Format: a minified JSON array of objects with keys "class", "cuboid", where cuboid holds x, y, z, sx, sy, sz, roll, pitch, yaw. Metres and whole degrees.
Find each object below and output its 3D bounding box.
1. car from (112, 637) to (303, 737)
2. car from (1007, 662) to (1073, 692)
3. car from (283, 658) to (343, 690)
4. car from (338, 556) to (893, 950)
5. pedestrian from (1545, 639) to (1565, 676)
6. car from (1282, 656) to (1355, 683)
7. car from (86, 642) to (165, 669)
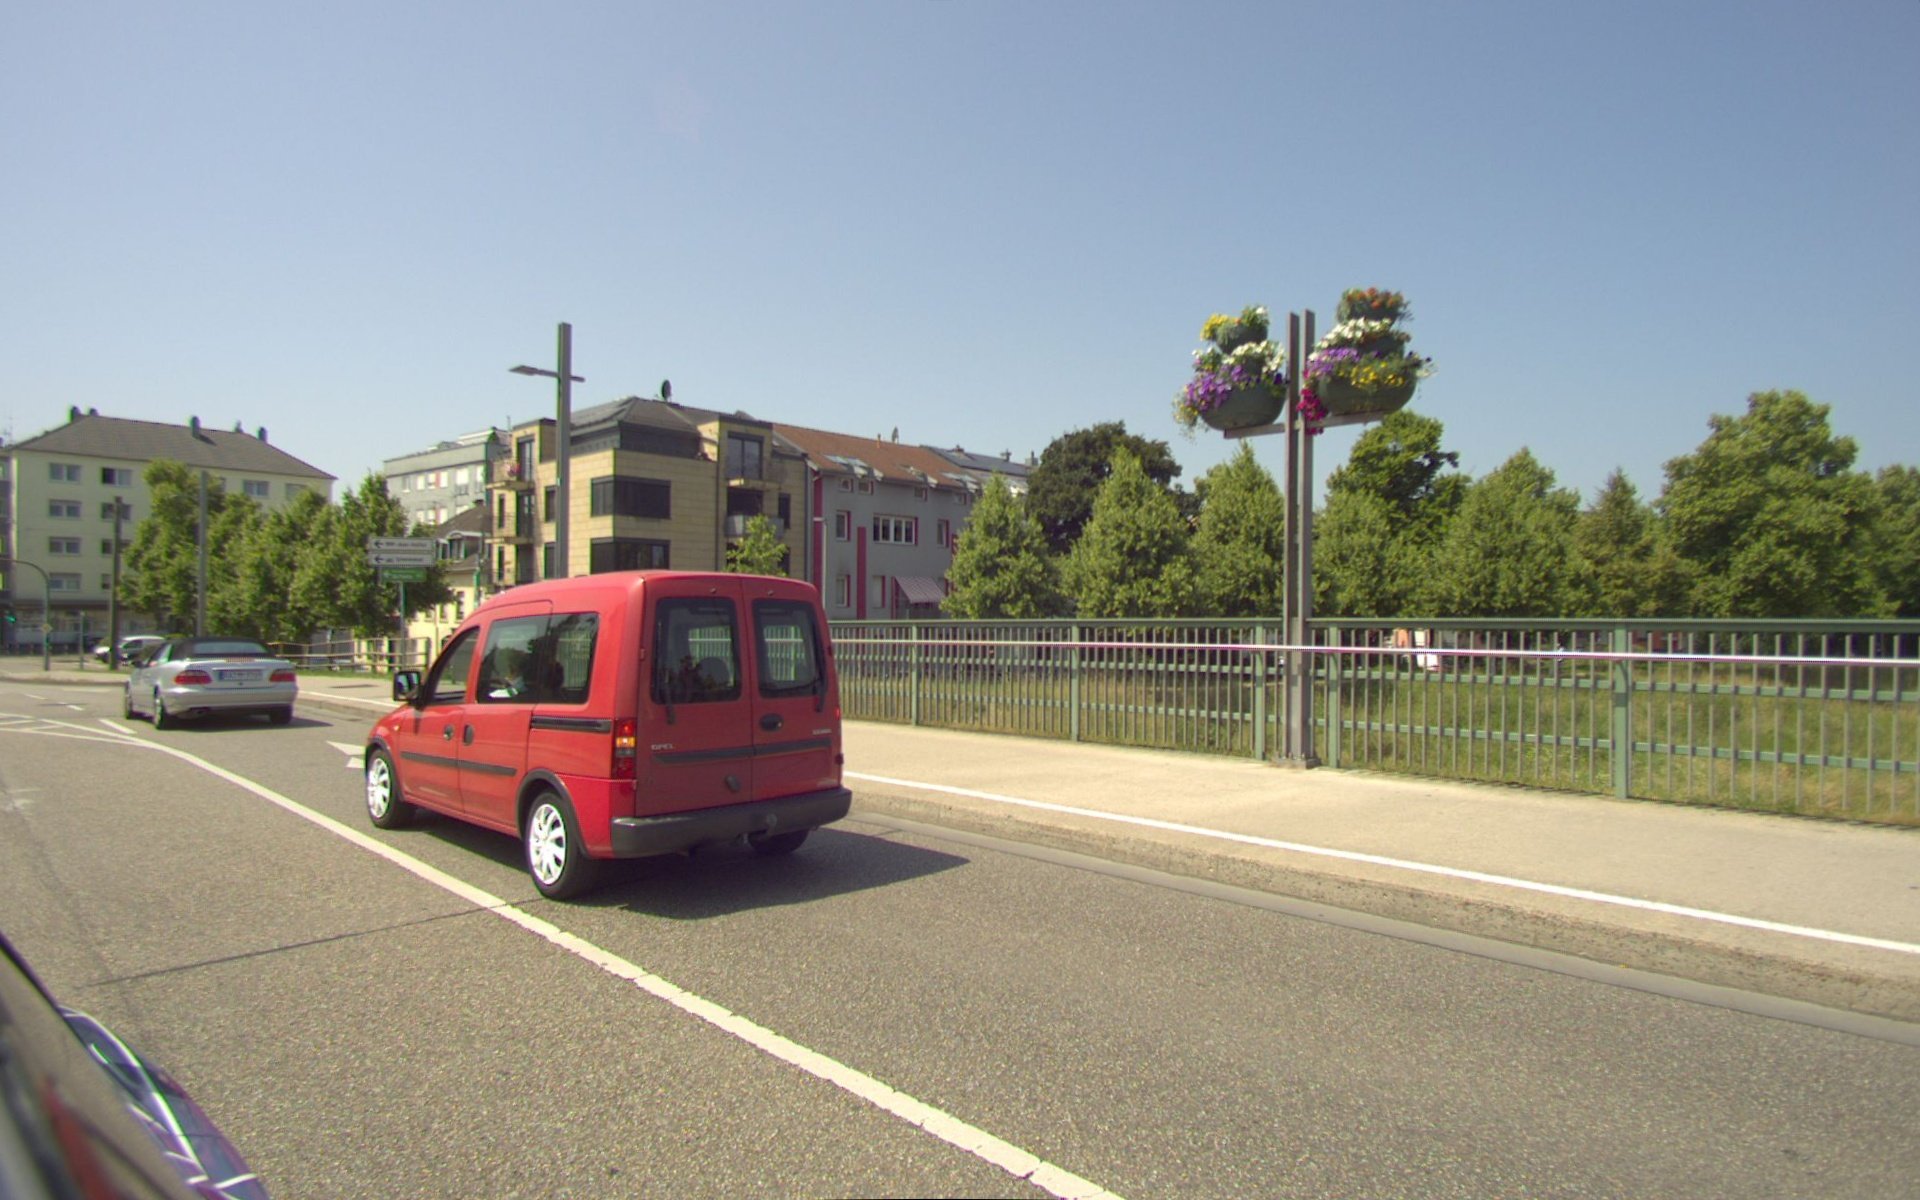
[{"class":"car","cuboid":[-12.054,1.285,16.097,4.457,1.369,1.679,-2,-3,44]},{"class":"car","cuboid":[4.859,4.619,60.883,1.999,1.662,3.945,-2,-3,41]},{"class":"car","cuboid":[-38.956,4.402,60.892,5.287,1.641,1.794,0,-3,44]},{"class":"car","cuboid":[-2.489,0.702,6.675,4.177,1.790,1.717,0,0,43]},{"class":"pedestrian","cuboid":[33.426,3.210,56.859,0.883,2.029,0.716,0,1,40]},{"class":"car","cuboid":[23.242,4.482,65.645,3.997,1.662,1.973,-2,-3,40]},{"class":"car","cuboid":[-55.937,3.734,67.905,1.889,1.748,3.655,0,-3,34]}]
